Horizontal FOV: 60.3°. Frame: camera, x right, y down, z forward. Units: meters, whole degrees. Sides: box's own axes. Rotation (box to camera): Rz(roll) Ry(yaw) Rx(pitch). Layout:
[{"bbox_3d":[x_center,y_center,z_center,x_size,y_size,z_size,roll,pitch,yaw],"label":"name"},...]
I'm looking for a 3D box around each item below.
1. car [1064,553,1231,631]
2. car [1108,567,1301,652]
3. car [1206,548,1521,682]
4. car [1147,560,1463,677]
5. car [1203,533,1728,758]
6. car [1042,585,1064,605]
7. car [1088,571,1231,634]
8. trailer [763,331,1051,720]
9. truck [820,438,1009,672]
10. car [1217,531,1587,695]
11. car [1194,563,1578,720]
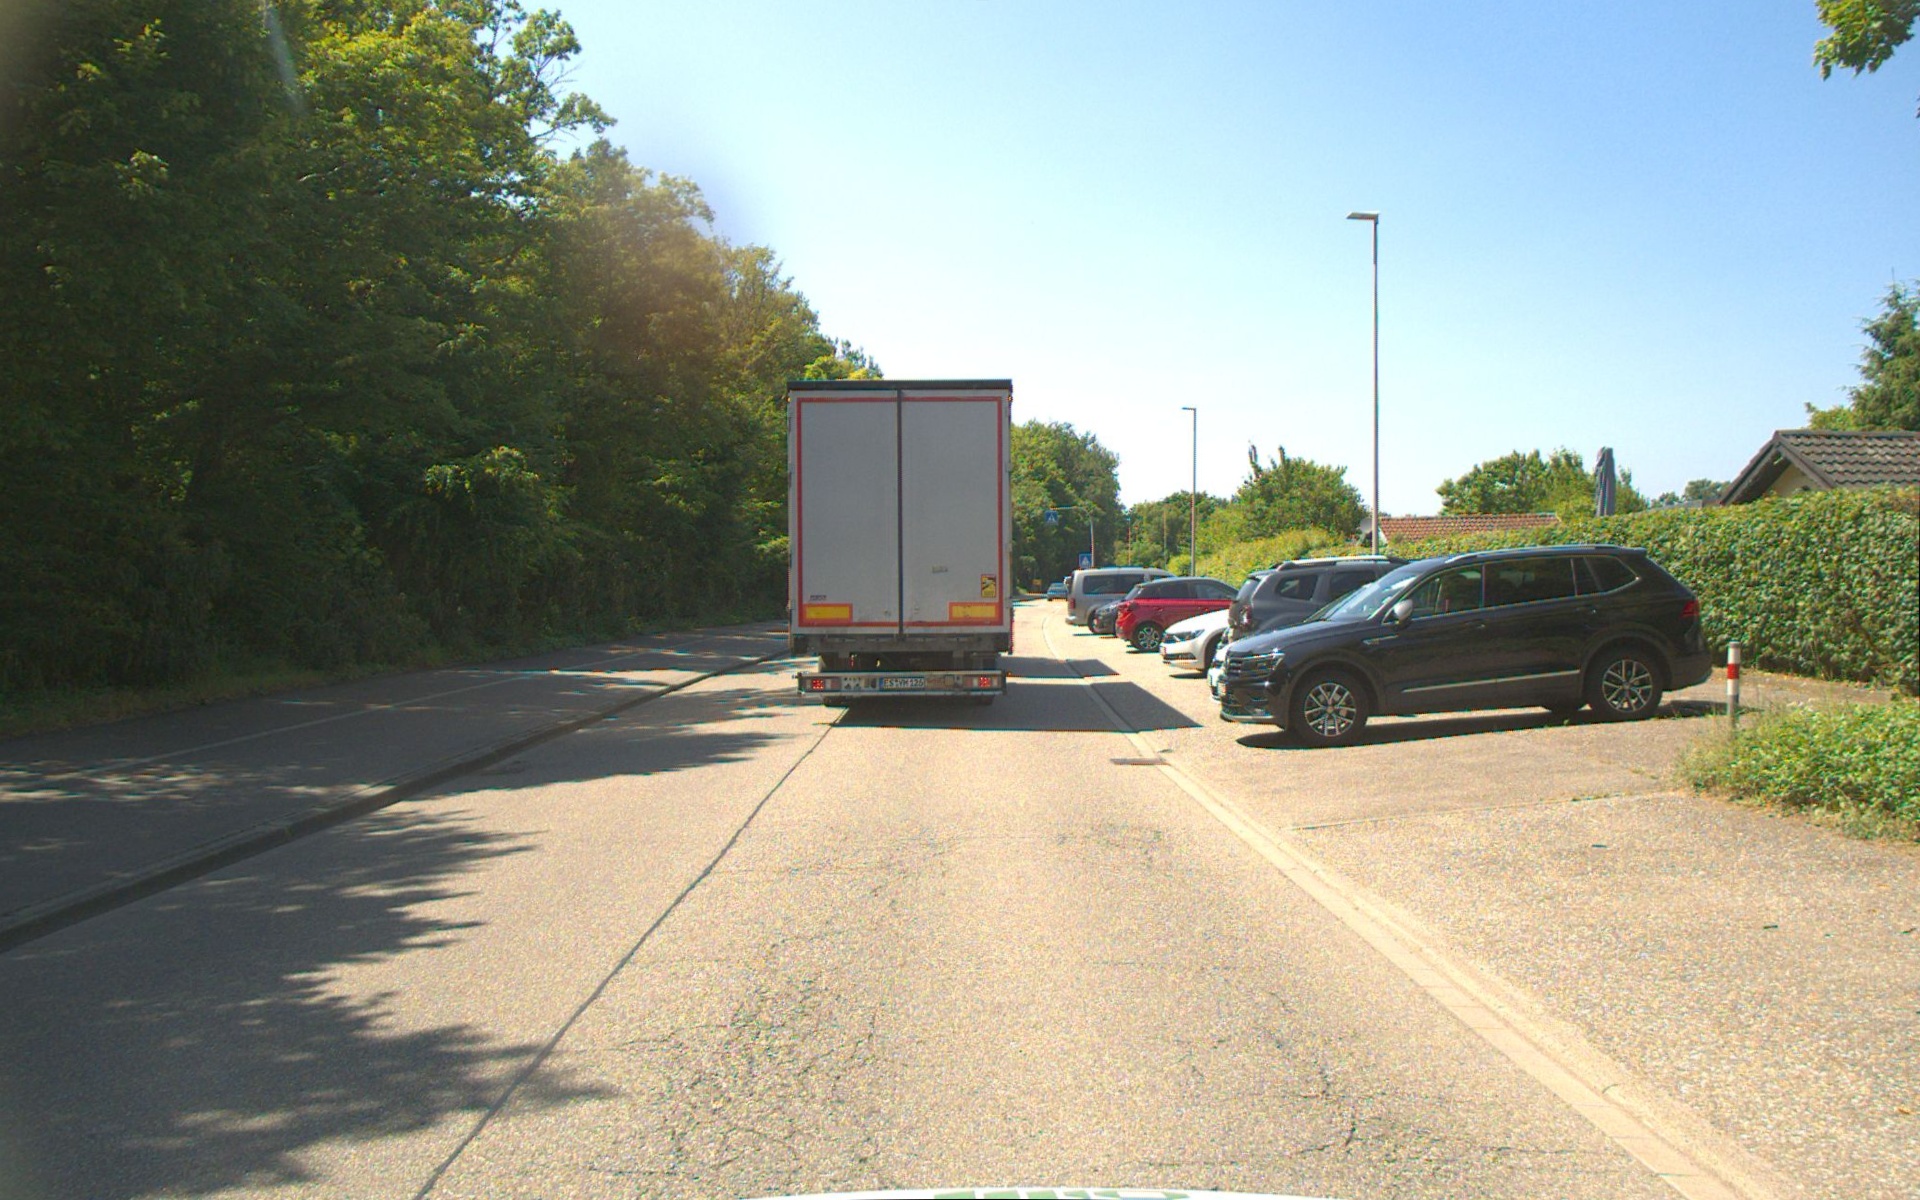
[{"bbox_3d":[5.306,-0.235,47.222,4.525,1.880,1.996,-4,1,2],"label":"car"},{"bbox_3d":[5.185,0.186,35.451,3.838,1.504,1.845,-4,1,2],"label":"car"},{"bbox_3d":[5.673,0.196,23.561,3.968,1.575,1.757,-4,1,-1],"label":"car"},{"bbox_3d":[5.338,0.269,26.020,4.467,1.464,1.961,-4,1,-2],"label":"car"},{"bbox_3d":[4.732,0.398,15.947,4.380,1.733,1.913,-4,1,-1],"label":"car"},{"bbox_3d":[7.367,-0.410,130.775,1.743,1.512,4.002,0,1,3],"label":"car"},{"bbox_3d":[5.290,0.050,44.236,3.504,1.528,1.840,-2,0,-4],"label":"car"},{"bbox_3d":[-0.685,-0.859,23.883,3.049,4.174,11.534,-2,0,-1],"label":"trailer"},{"bbox_3d":[-0.779,-0.770,30.193,3.050,3.790,6.413,0,1,-1],"label":"truck"},{"bbox_3d":[5.536,0.147,21.132,4.170,1.728,1.854,-4,1,2],"label":"car"},{"bbox_3d":[4.692,0.443,18.702,3.912,1.477,1.833,-3,0,6],"label":"car"}]
